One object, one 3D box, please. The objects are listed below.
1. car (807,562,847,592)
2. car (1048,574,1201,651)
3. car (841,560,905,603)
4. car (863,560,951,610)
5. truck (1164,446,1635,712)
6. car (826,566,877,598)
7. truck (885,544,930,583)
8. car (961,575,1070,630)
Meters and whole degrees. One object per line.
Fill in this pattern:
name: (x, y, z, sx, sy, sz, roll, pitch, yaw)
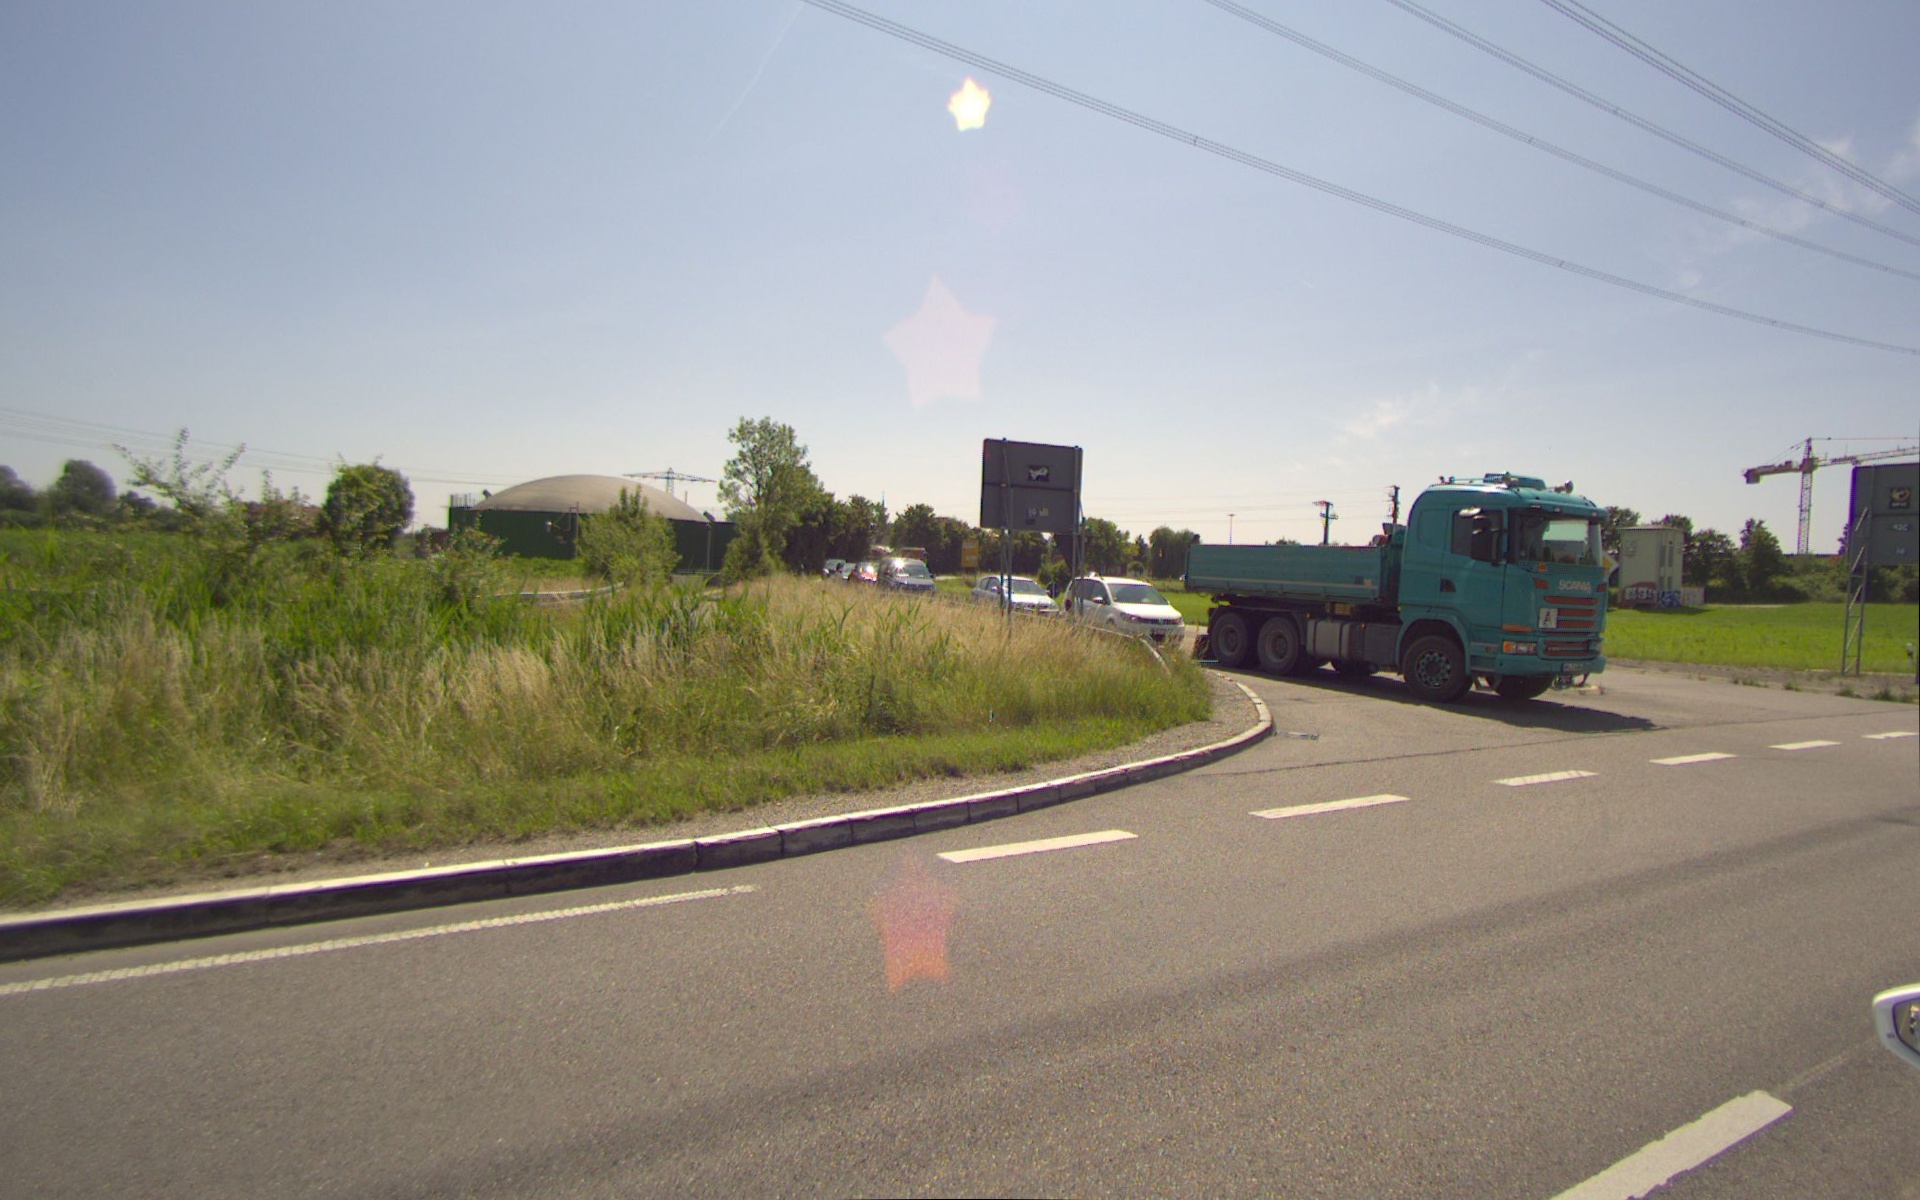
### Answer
car: (-7.870, -1.333, 59.286, 1.965, 1.691, 3.990, 2, 0, -13)
car: (3.926, 0.233, 24.822, 1.936, 1.634, 4.539, 2, 2, -16)
car: (-4.154, -0.920, 47.153, 1.887, 1.874, 4.462, 2, 2, -20)
car: (-2.234, -0.656, 40.700, 2.058, 1.893, 4.926, 0, 2, -22)
truck: (7.325, -0.467, 18.311, 2.467, 3.785, 7.871, 2, 2, -28)
car: (-5.764, -0.973, 52.872, 1.754, 1.498, 3.981, 2, 2, -20)
truck: (-4.888, -3.371, 94.966, 2.772, 3.332, 9.704, 1, 1, 5)
car: (1.598, 0.031, 30.566, 1.692, 1.490, 4.426, 2, 1, -20)
